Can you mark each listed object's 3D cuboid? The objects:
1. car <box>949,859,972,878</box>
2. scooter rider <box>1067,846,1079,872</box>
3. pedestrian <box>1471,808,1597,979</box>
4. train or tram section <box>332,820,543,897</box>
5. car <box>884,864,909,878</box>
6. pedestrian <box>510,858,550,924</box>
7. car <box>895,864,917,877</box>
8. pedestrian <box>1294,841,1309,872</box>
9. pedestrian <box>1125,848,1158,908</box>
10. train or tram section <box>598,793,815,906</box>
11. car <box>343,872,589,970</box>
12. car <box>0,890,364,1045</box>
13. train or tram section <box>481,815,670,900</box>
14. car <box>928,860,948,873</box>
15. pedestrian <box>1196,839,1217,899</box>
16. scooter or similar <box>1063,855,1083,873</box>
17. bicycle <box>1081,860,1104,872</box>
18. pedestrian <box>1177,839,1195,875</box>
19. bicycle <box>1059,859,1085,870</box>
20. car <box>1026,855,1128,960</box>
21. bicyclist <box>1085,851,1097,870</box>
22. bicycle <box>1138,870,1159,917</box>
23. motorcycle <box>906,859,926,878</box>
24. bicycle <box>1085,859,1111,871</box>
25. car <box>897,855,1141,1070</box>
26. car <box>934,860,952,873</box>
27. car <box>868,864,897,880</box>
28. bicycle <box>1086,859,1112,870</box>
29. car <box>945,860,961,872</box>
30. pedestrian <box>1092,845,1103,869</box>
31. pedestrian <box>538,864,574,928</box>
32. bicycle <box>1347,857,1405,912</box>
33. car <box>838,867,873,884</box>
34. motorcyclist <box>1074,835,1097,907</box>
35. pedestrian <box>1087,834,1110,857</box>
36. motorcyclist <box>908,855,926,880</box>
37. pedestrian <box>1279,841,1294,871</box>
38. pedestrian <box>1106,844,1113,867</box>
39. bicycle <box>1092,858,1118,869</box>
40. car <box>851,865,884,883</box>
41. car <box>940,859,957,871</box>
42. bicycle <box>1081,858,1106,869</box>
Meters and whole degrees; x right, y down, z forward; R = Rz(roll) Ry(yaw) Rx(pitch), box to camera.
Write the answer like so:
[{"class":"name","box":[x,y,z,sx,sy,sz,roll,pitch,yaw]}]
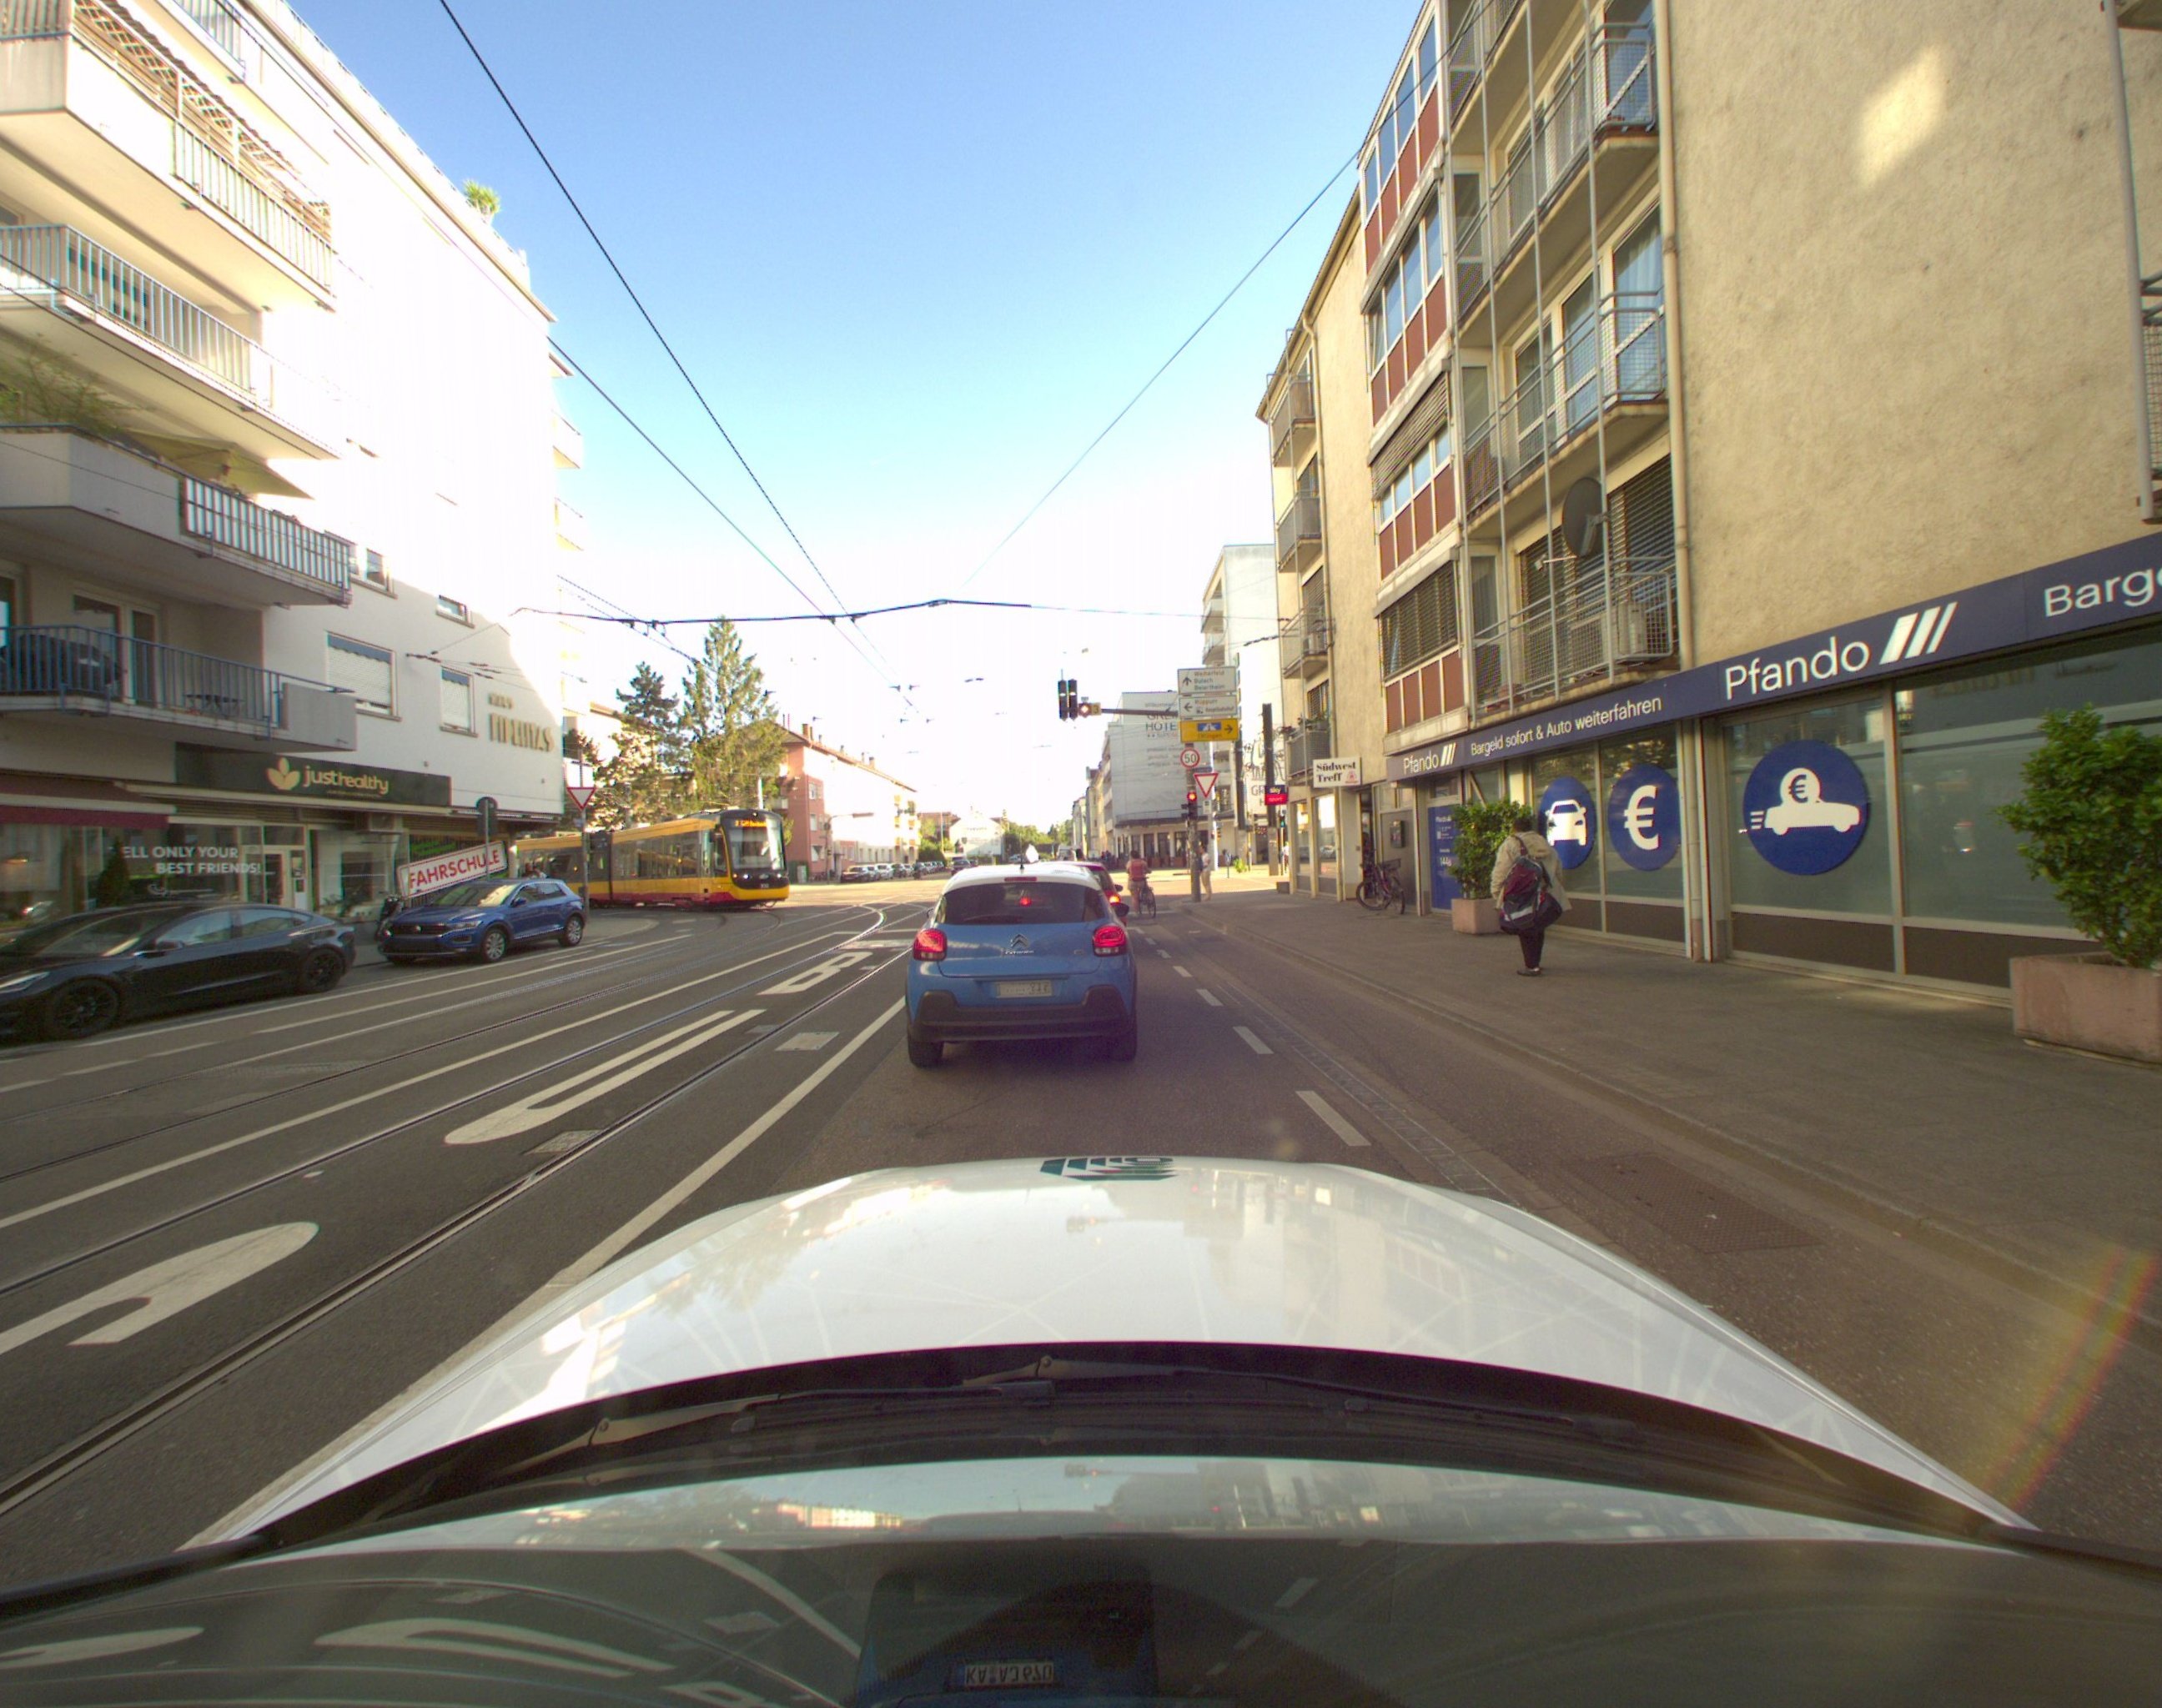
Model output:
[{"class":"car","box":[-11.349,1.341,76.853,1.770,1.666,3.854,0,-1,-2]},{"class":"scooter rider","box":[-0.549,0.349,59.166,0.718,1.832,0.718,-3,-1,5]},{"class":"pedestrian","box":[4.432,0.373,8.029,0.822,1.593,0.751,0,-1,1]},{"class":"train or tram section","box":[-33.990,0.274,42.705,14.087,3.632,2.770,-1,-1,26]},{"class":"car","box":[-19.597,1.806,86.724,1.781,1.498,3.998,0,-1,-1]},{"class":"pedestrian","box":[-17.242,1.146,25.509,0.767,2.014,0.694,0,-1,-4]},{"class":"car","box":[-19.959,1.851,92.900,1.728,1.498,3.996,0,-1,-2]},{"class":"pedestrian","box":[11.766,0.126,43.513,0.746,1.657,0.887,-1,-1,15]},{"class":"pedestrian","box":[1.505,0.592,20.305,0.774,1.460,0.682,0,-1,1]},{"class":"train or tram section","box":[-14.766,-0.017,31.164,12.471,3.593,3.091,-3,1,44]},{"class":"car","box":[-11.973,1.214,16.272,1.864,1.531,4.068,-2,0,-2]},{"class":"car","box":[-12.044,1.293,10.449,1.816,1.387,4.425,-3,0,-2]},{"class":"train or tram section","box":[-23.492,0.176,37.746,8.973,3.631,2.850,-1,-1,24]},{"class":"car","box":[-18.759,1.674,106.982,1.978,1.687,3.998,0,-1,-1]},{"class":"pedestrian","box":[3.761,0.439,24.401,0.515,1.783,0.595,0,-1,0]},{"class":"scooter or similar","box":[-0.567,0.705,59.163,1.343,1.269,0.444,-1,0,6]},{"class":"bicycle","box":[0.895,0.939,63.289,1.837,0.903,0.352,-1,-1,21]},{"class":"pedestrian","box":[6.032,0.170,46.920,0.922,2.014,0.760,0,-1,1]},{"class":"bicycle","box":[-0.717,0.875,66.403,2.130,0.901,0.366,0,-1,-7]},{"class":"car","box":[-0.014,0.790,13.234,1.419,1.467,2.925,-2,-1,2]},{"class":"bicyclist","box":[0.792,0.527,63.343,0.739,1.477,0.565,-1,-1,19]},{"class":"bicycle","box":[1.690,0.975,20.671,0.426,1.123,1.999,0,-1,2]},{"class":"motorcycle","box":[-13.647,1.169,67.498,0.921,1.486,3.724,0,-1,-1]},{"class":"bicycle","box":[1.435,0.914,67.690,2.130,0.901,0.366,0,-1,-7]},{"class":"car","box":[-0.366,0.750,7.286,1.648,1.444,3.524,0,-1,2]},{"class":"car","box":[-18.887,1.680,111.920,1.877,1.687,3.998,0,-1,-1]},{"class":"car","box":[-19.463,1.744,80.027,1.781,1.511,4.150,0,-1,1]},{"class":"bicycle","box":[1.492,0.866,67.286,2.130,0.901,0.366,0,-1,-7]},{"class":"car","box":[-19.196,1.762,121.792,1.841,1.687,3.872,0,-1,-1]},{"class":"pedestrian","box":[1.397,0.224,69.290,0.635,2.014,0.717,0,-1,-34]},{"class":"pedestrian","box":[-15.135,1.206,23.499,0.569,1.805,0.699,0,-1,1]},{"class":"bicycle","box":[5.688,0.569,15.775,0.540,0.998,1.706,0,-1,2]},{"class":"car","box":[-19.203,1.813,69.431,1.787,1.421,3.996,0,0,1]},{"class":"motorcyclist","box":[0.113,0.402,19.753,0.524,1.716,0.717,0,-1,2]},{"class":"pedestrian","box":[1.624,-0.730,73.694,1.986,2.014,4.001,0,-1,2]},{"class":"motorcyclist","box":[-13.614,1.124,67.774,1.182,2.013,1.275,-2,0,-1]},{"class":"pedestrian","box":[10.866,0.110,43.079,0.730,1.601,0.751,-1,-1,15]},{"class":"pedestrian","box":[2.434,0.140,70.122,0.575,2.014,0.625,0,-1,-1]},{"class":"bicycle","box":[1.950,0.767,66.076,2.130,0.901,0.366,0,-1,-7]},{"class":"car","box":[-19.419,1.784,74.208,1.808,1.498,4.302,0,0,2]},{"class":"car","box":[-19.084,1.506,117.361,1.828,1.687,3.998,0,-1,-1]},{"class":"bicycle","box":[1.044,0.818,68.486,2.130,0.901,0.366,0,-1,-7]}]
